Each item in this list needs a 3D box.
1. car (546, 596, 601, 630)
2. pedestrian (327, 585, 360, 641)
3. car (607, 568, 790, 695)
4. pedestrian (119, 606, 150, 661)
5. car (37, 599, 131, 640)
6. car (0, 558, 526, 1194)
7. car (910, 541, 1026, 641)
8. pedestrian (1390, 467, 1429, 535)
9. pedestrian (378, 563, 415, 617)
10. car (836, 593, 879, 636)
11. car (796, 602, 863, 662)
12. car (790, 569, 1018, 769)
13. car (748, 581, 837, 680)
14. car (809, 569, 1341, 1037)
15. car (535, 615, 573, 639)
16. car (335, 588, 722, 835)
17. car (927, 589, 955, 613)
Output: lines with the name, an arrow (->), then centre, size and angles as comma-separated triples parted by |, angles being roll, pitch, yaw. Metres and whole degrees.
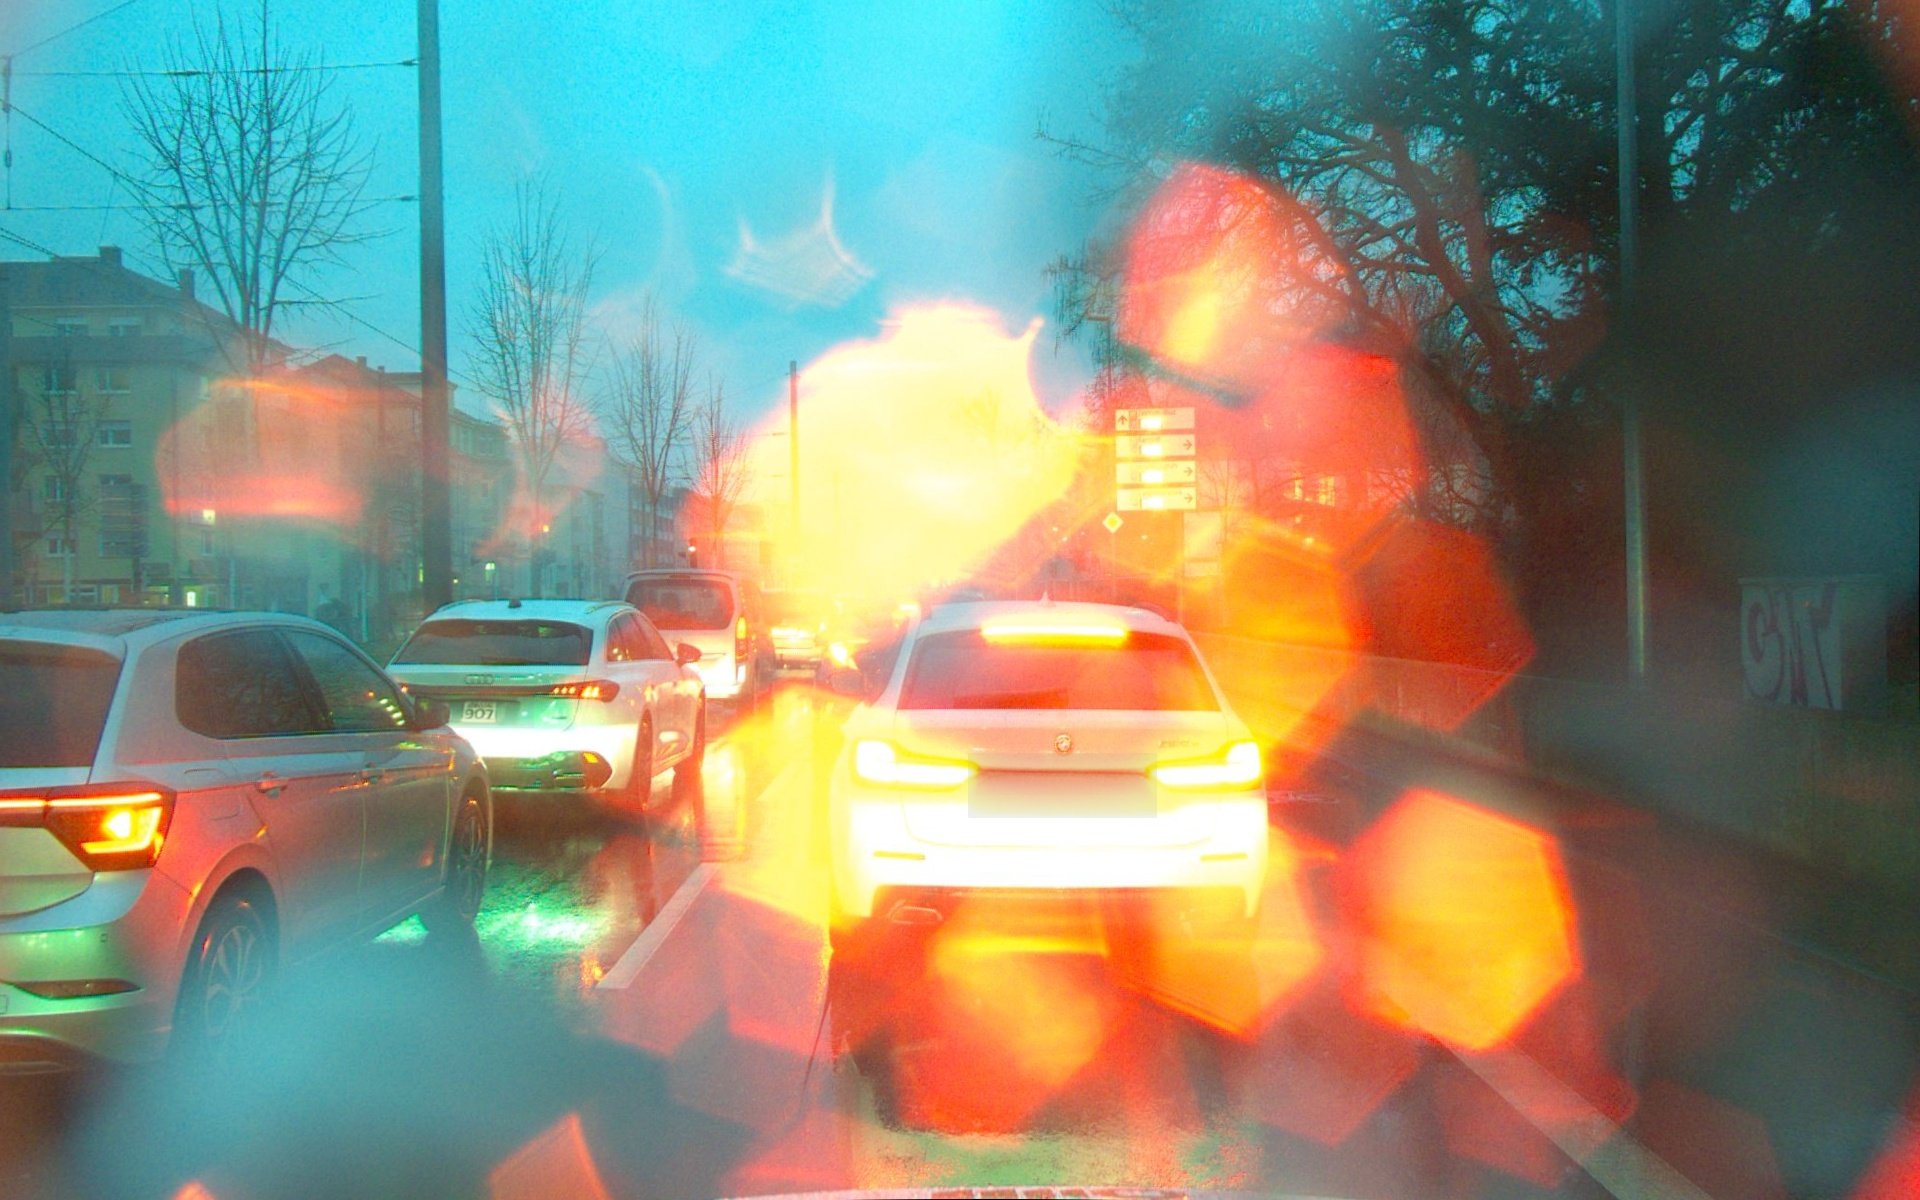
car -> -19.638, 0.657, 84.251 | 1.953, 1.630, 3.998 | 1, 0, -2
pedestrian -> -23.011, 0.471, 61.739 | 1.051, 2.049, 1.003 | -1, 0, -17
car -> -3.257, 0.351, 21.352 | 1.702, 1.444, 4.393 | -1, 0, -1
pedestrian -> -31.537, 1.267, 63.179 | 0.994, 2.049, 0.952 | -1, 0, -30
car -> -43.756, 0.976, 82.655 | 3.679, 1.976, 1.838 | 1, 0, -9
car -> -2.923, 0.663, 6.045 | 1.658, 1.560, 3.999 | 0, 0, -1
car -> 0.095, -0.145, 26.537 | 1.702, 1.444, 3.702 | -1, 0, -1
pedestrian -> 14.112, -3.095, 51.951 | 0.939, 2.049, 1.008 | -1, 0, 2
pedestrian -> -21.855, -0.382, 64.178 | 1.253, 2.049, 1.000 | -1, 0, -25
car -> -3.324, 0.450, 53.586 | 1.336, 1.339, 2.714 | 1, 0, -3
car -> -3.032, 0.735, 38.836 | 1.335, 1.339, 2.716 | 1, 0, 0
car -> -0.464, 0.538, 14.863 | 1.763, 1.537, 3.894 | -1, 0, -1
car -> -2.986, 0.527, 29.822 | 1.476, 1.681, 2.842 | 1, 0, -4
car -> 0.368, 0.690, 8.216 | 1.825, 1.583, 4.937 | -1, 0, -1
car -> -23.943, 1.583, 97.703 | 1.659, 1.300, 4.142 | -1, 0, -7
car -> -2.993, 0.674, 12.514 | 1.762, 1.492, 4.585 | -1, 0, -1
car -> -1.196, 0.056, 102.375 | 1.702, 1.444, 4.145 | -1, 0, -1
